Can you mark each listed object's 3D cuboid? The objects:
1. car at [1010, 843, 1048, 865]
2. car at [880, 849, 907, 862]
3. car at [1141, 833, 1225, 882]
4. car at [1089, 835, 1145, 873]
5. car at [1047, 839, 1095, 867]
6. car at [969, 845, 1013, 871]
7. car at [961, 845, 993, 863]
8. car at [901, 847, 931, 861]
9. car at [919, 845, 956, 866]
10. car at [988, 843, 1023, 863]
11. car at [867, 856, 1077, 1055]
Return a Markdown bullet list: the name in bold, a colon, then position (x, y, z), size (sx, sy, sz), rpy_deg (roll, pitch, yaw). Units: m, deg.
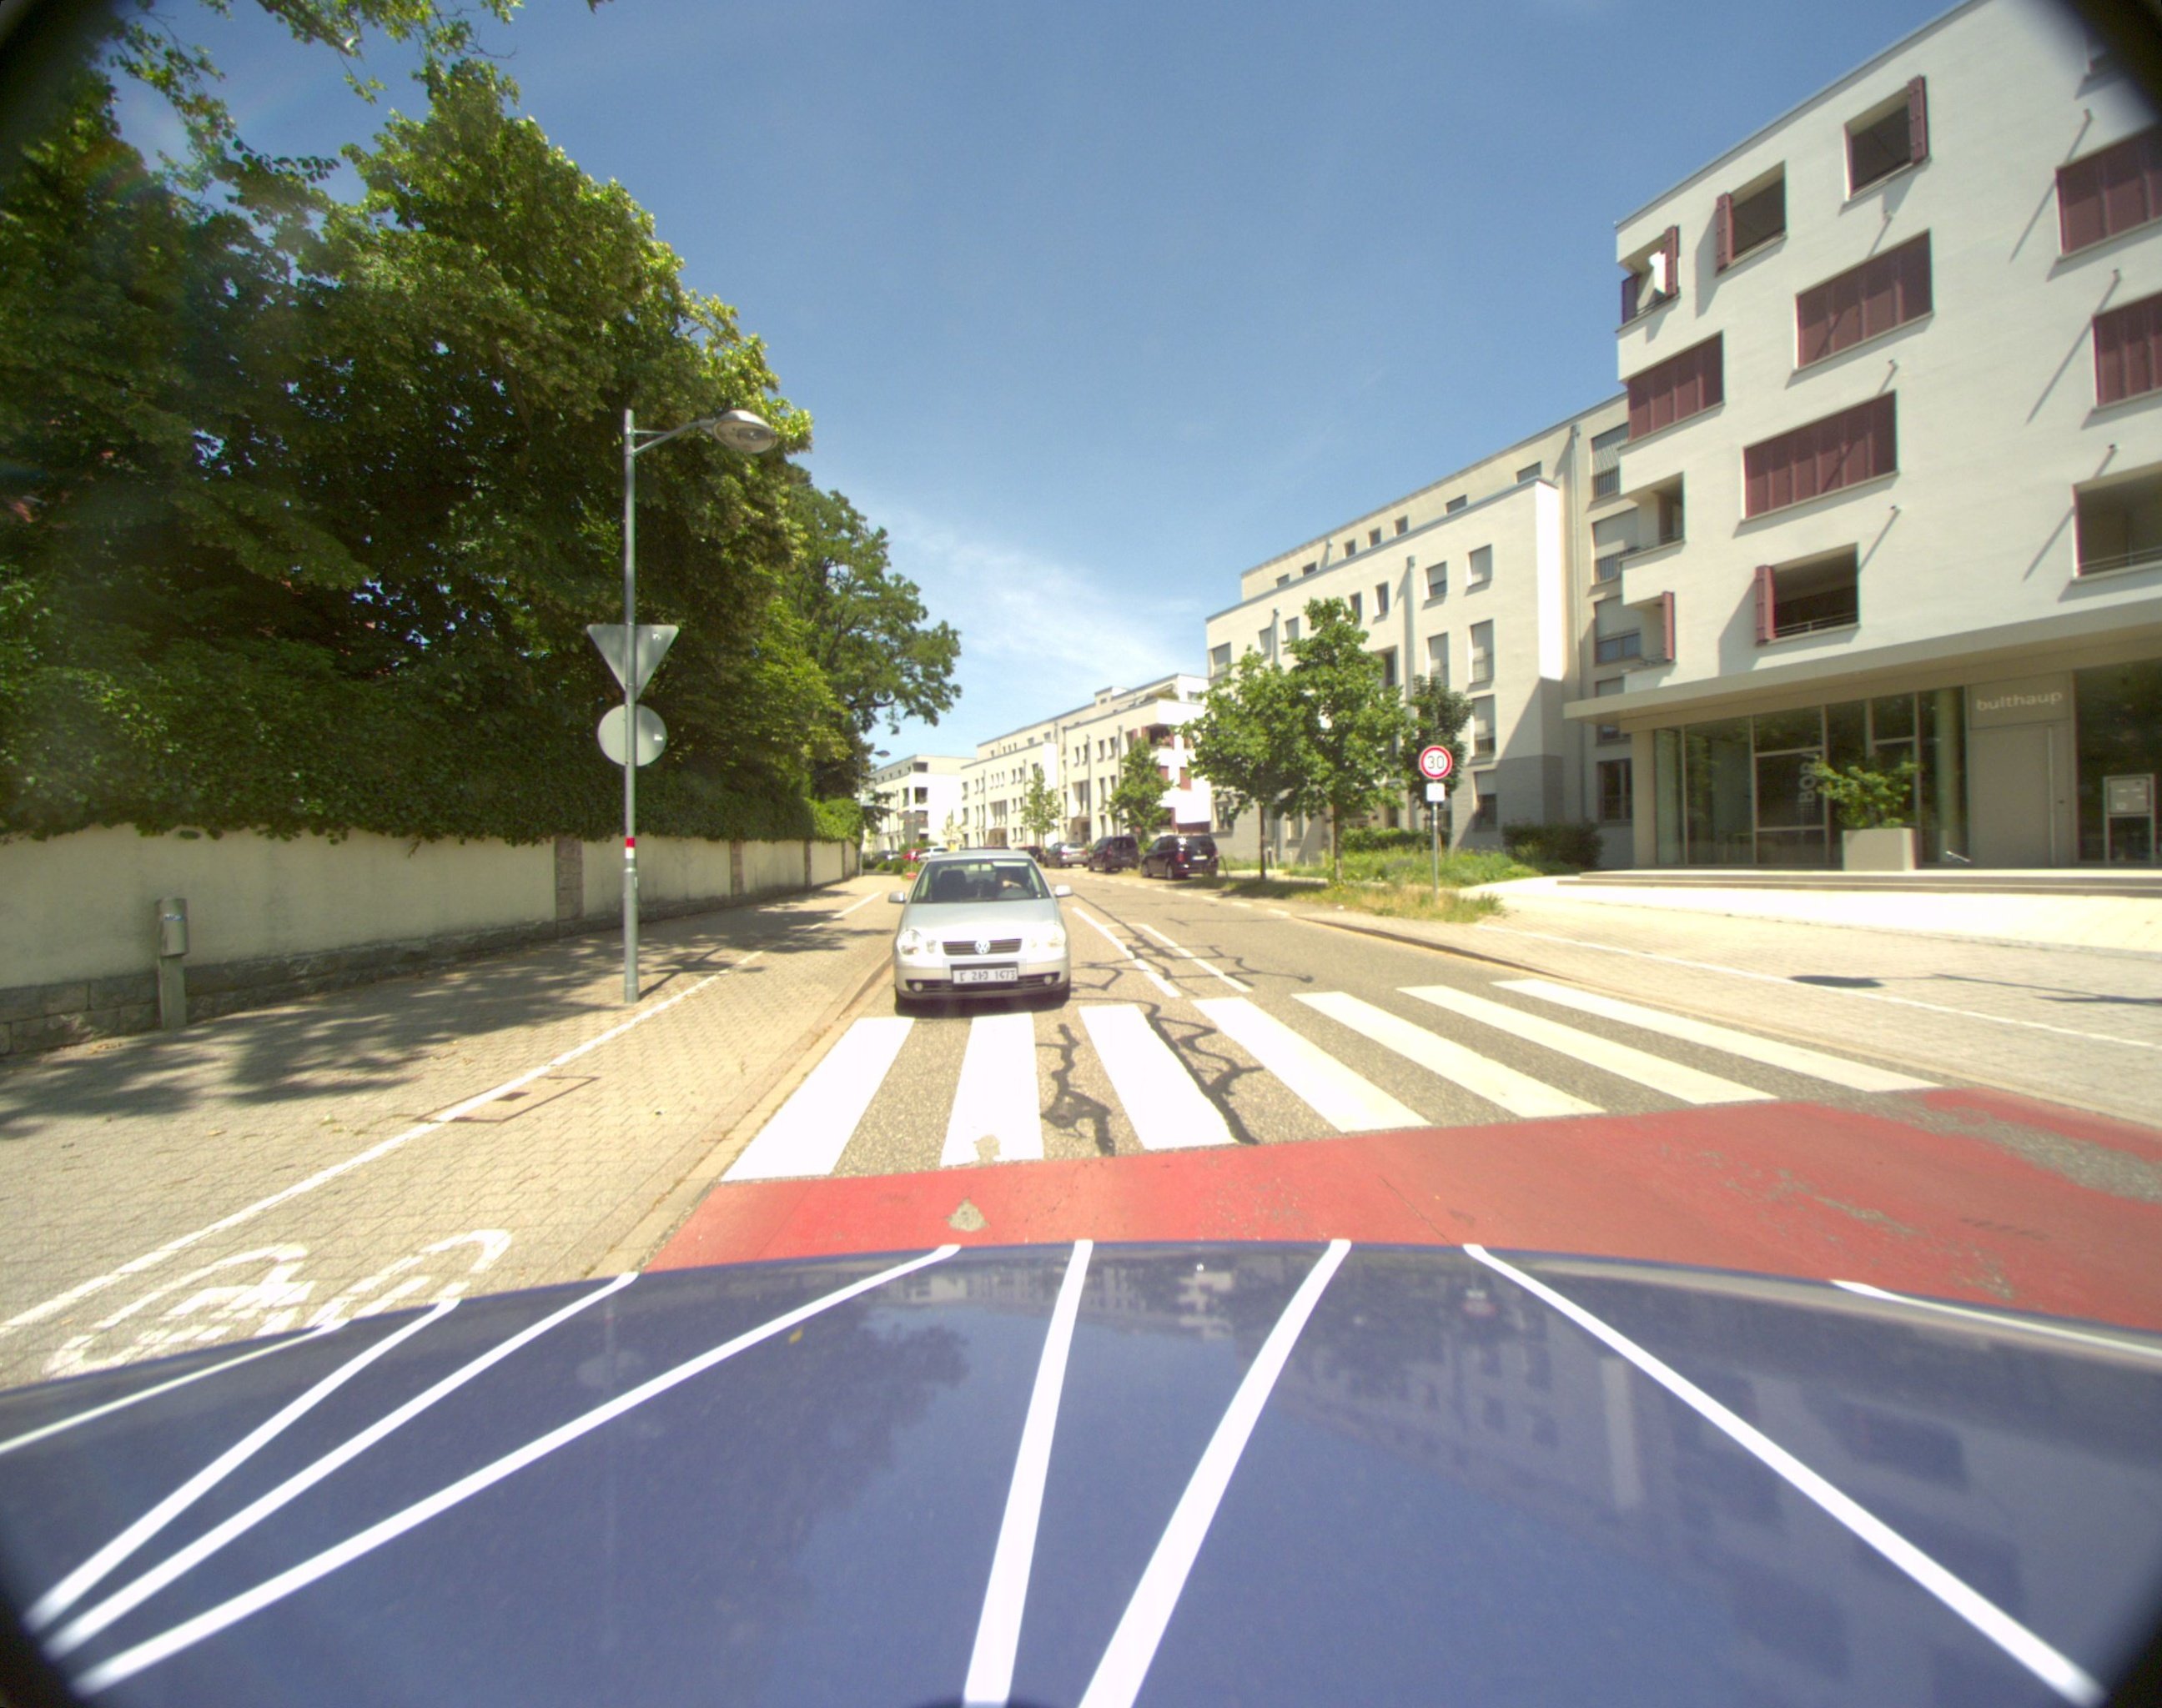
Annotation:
- **car**: position (-3.696, -0.023, 53.688), size (1.709, 1.405, 3.620), rpy_deg (-2, 1, -20)
- **car**: position (-20.749, 0.147, 83.962), size (1.710, 1.405, 3.711), rpy_deg (-3, 2, -35)
- **car**: position (3.667, 0.076, 28.002), size (1.700, 1.628, 4.015), rpy_deg (-2, 1, -14)
- **car**: position (1.675, -0.016, 36.590), size (1.700, 1.691, 3.622), rpy_deg (-2, 1, -14)
- **car**: position (-0.637, -0.086, 45.526), size (1.792, 1.581, 3.621), rpy_deg (-2, 1, -19)
- **car**: position (-5.607, 0.202, 47.155), size (1.758, 1.496, 3.985), rpy_deg (-2, 1, -21)
- **car**: position (-8.962, -0.031, 65.276), size (1.709, 1.405, 3.713), rpy_deg (-2, 2, -26)
- **car**: position (-17.091, 0.001, 78.669), size (1.710, 1.405, 3.711), rpy_deg (-3, 2, -35)
- **car**: position (-11.502, 0.103, 60.735), size (1.819, 1.599, 4.111), rpy_deg (-2, 2, -26)
- **car**: position (-5.962, -0.100, 59.666), size (1.709, 1.405, 3.714), rpy_deg (-2, 1, -23)
- **car**: position (-1.034, 0.805, 8.044), size (1.608, 1.443, 3.997), rpy_deg (-2, 1, -5)
